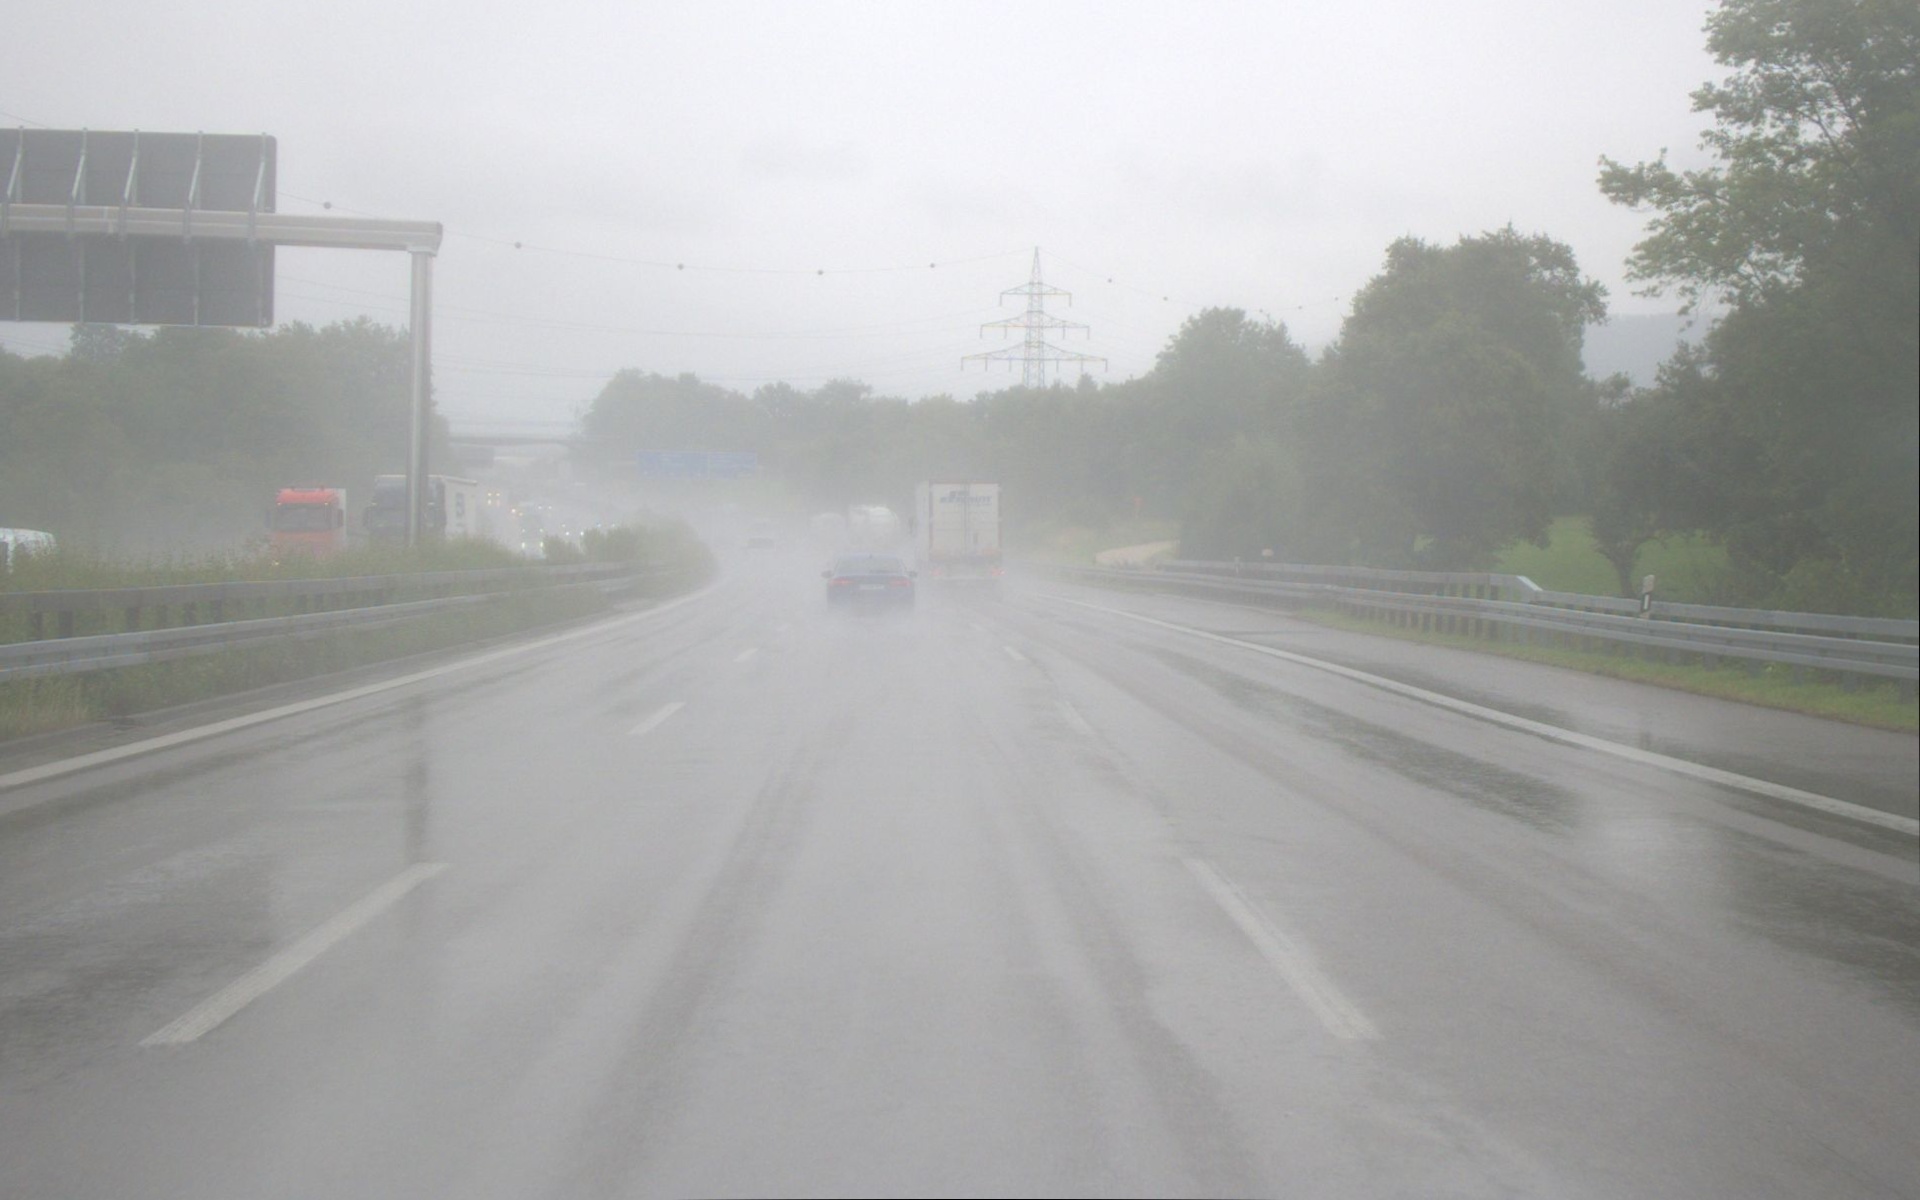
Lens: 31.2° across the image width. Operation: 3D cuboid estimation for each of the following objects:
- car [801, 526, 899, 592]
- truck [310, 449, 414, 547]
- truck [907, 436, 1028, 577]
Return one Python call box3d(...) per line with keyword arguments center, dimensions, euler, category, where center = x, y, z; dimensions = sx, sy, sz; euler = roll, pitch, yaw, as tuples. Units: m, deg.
box3d(center=(-2.206, -0.854, 69.834), dimensions=(1.749, 1.208, 4.000), euler=(3, 1, 1), category="car")
box3d(center=(-24.195, -4.098, 139.374), dimensions=(2.908, 3.707, 6.509), euler=(4, 1, 0), category="truck")
box3d(center=(0.269, -3.591, 130.716), dimensions=(4.256, 4.955, 17.342), euler=(-1, 2, 0), category="truck")
